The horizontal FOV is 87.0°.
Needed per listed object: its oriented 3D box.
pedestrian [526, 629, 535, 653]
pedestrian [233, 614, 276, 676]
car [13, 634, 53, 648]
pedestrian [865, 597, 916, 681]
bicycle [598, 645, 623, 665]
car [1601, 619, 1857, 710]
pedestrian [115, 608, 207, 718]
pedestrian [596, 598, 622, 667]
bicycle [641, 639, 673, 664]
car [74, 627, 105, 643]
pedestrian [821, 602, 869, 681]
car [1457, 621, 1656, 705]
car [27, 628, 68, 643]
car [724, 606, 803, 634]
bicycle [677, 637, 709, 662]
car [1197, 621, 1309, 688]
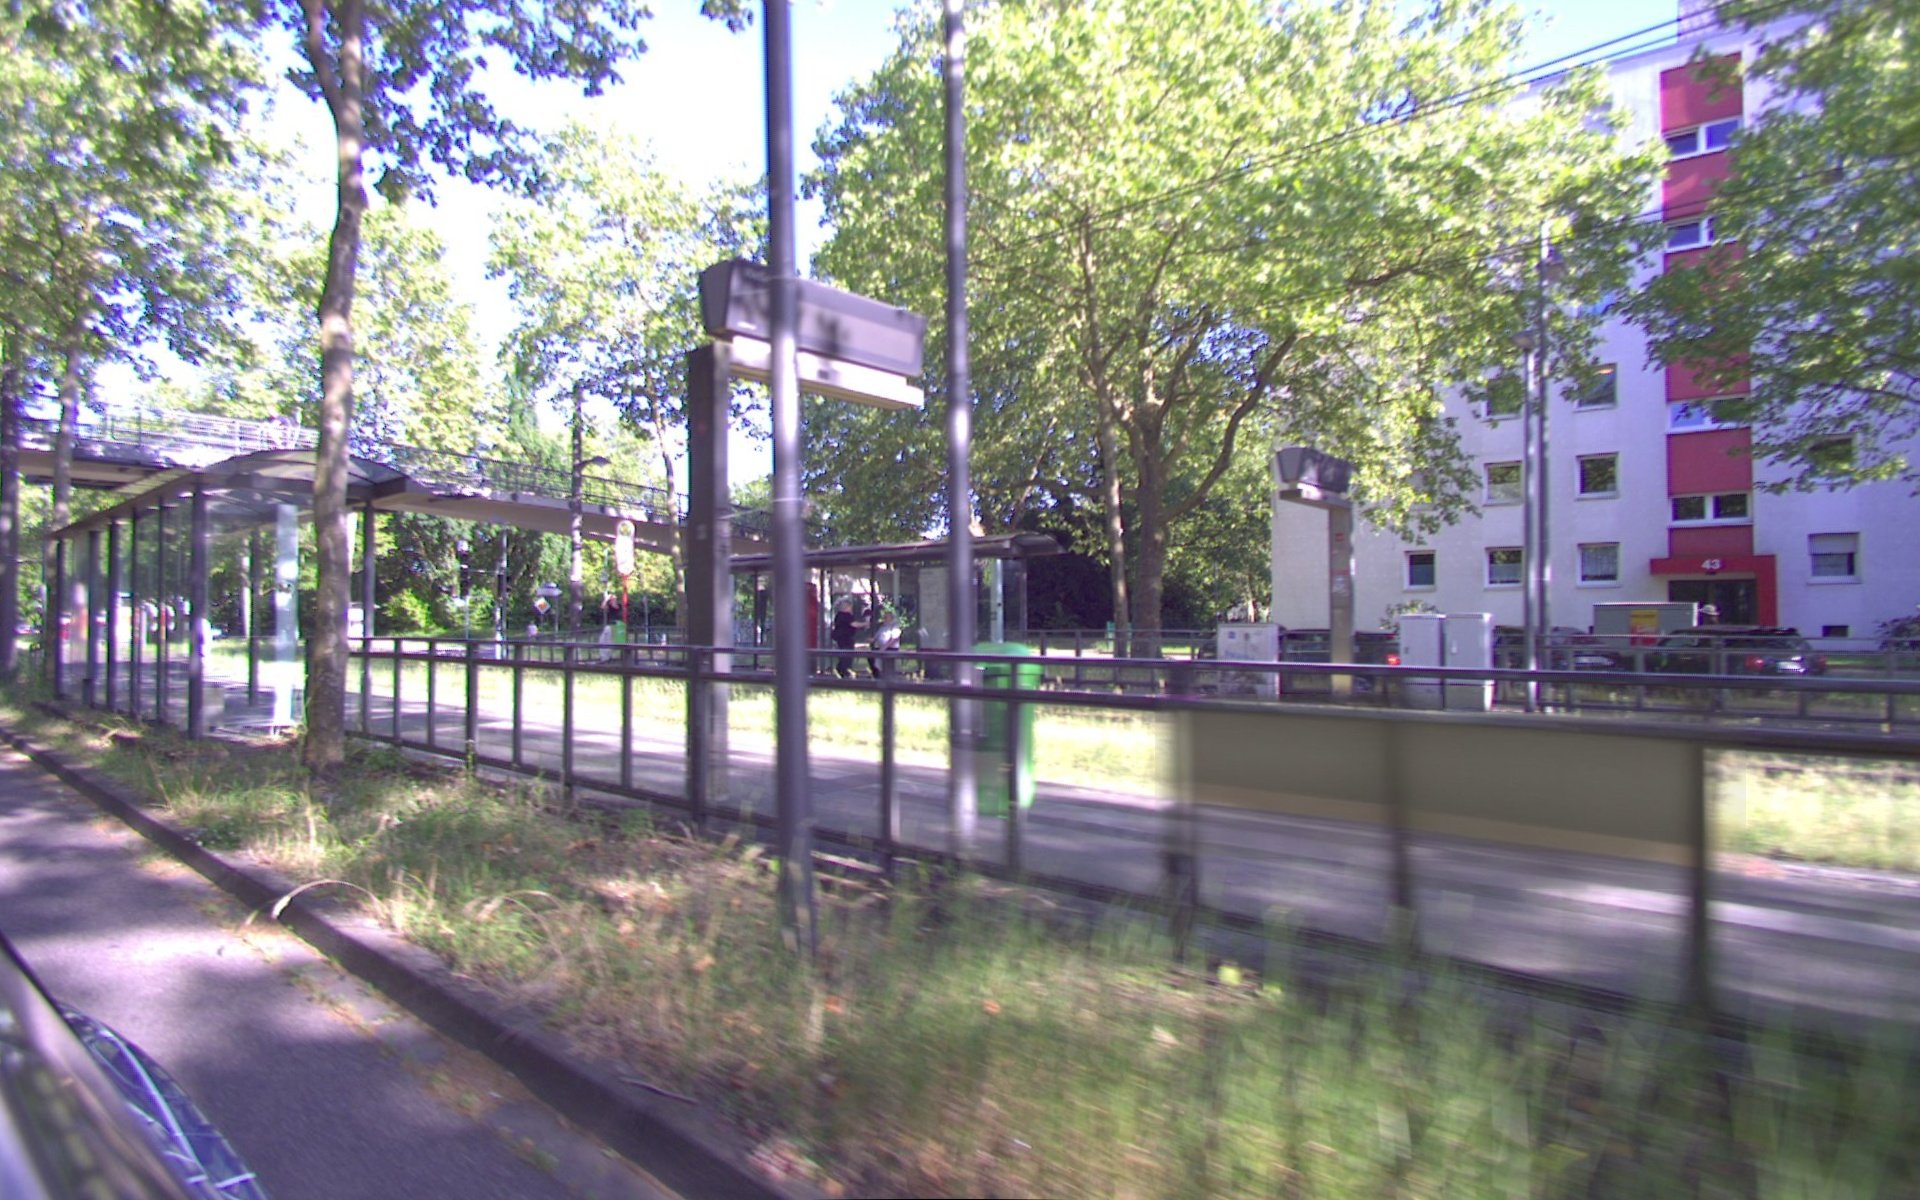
[{"bbox_3d":[-26.920,2.565,63.426,0.526,1.502,0.589,-1,0,-24],"label":"pedestrian"},{"bbox_3d":[-19.817,1.250,28.424,1.047,1.687,0.718,-1,0,38],"label":"pedestrian"},{"bbox_3d":[-111.856,4.945,122.152,1.857,1.579,4.011,-1,0,-15],"label":"car"},{"bbox_3d":[-1.391,0.777,20.221,0.714,1.647,0.722,-1,-3,39],"label":"pedestrian"},{"bbox_3d":[-14.245,2.247,41.187,1.173,0.784,0.429,-2,-1,41],"label":"bicycle"},{"bbox_3d":[14.222,1.121,19.080,1.677,1.439,4.197,-2,-1,2],"label":"car"},{"bbox_3d":[-9.629,0.733,12.206,0.586,1.261,0.727,-1,0,35],"label":"pedestrian"},{"bbox_3d":[-9.102,0.836,26.256,0.477,1.784,0.503,-1,0,0],"label":"pedestrian"},{"bbox_3d":[-12.541,2.109,41.840,1.685,1.016,0.429,-2,-1,41],"label":"bicycle"},{"bbox_3d":[-89.063,3.548,103.515,3.814,1.507,1.733,-1,2,40],"label":"car"},{"bbox_3d":[-2.247,0.811,19.838,0.681,1.525,0.638,-1,-3,28],"label":"pedestrian"},{"bbox_3d":[12.111,1.214,20.899,1.677,1.439,4.197,-2,-1,2],"label":"car"},{"bbox_3d":[-104.678,4.075,116.119,1.857,1.579,4.011,-1,0,-15],"label":"car"},{"bbox_3d":[-14.749,1.503,76.216,2.220,1.963,6.081,-1,-1,34],"label":"car"},{"bbox_3d":[-11.257,2.094,42.608,1.685,1.016,0.429,-2,-1,41],"label":"bicycle"},{"bbox_3d":[7.276,1.303,25.541,1.677,1.439,4.197,-2,-1,2],"label":"car"}]
